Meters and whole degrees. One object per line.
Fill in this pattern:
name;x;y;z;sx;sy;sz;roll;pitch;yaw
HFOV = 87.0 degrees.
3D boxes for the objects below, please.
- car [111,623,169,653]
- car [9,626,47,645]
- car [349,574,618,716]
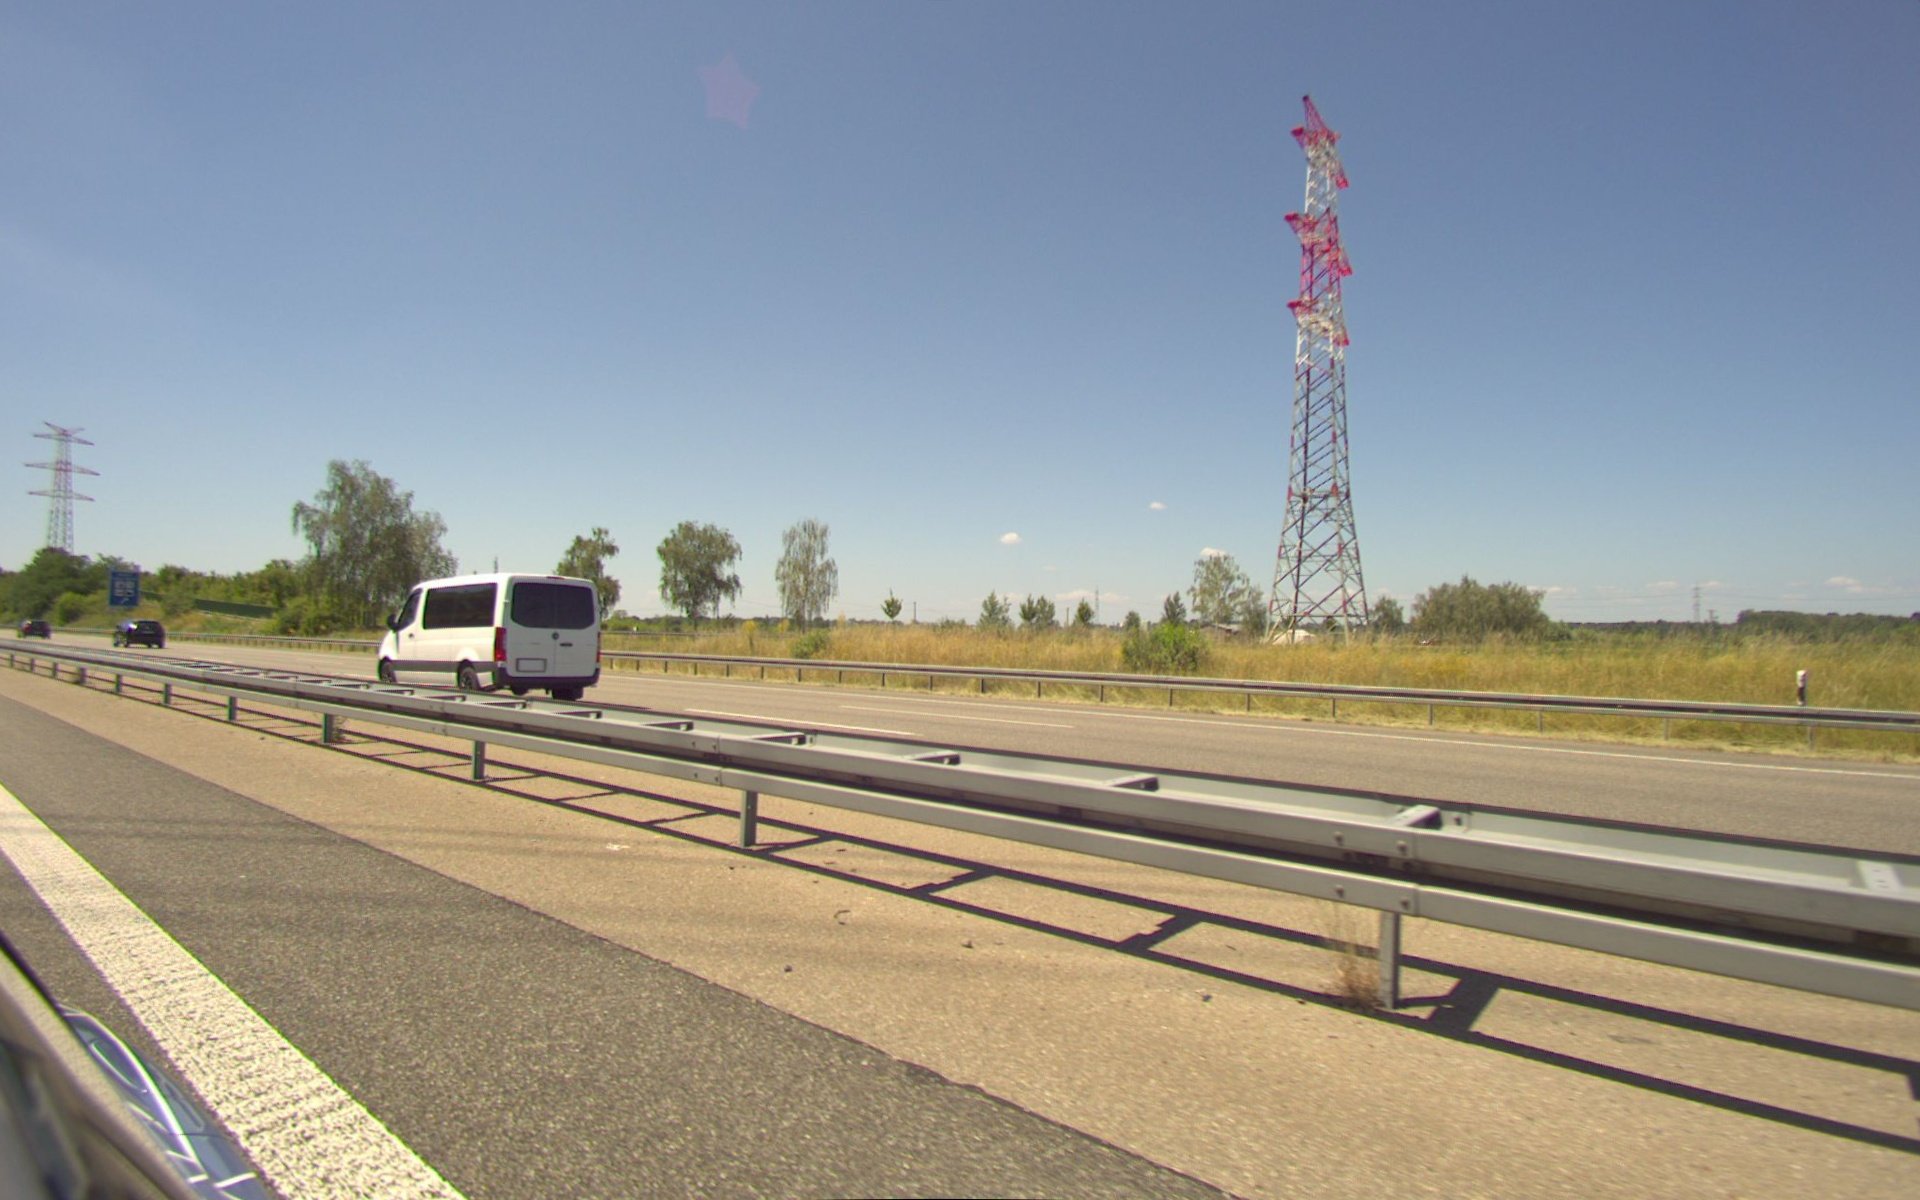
car;-47.931;2.195;59.107;4.411;1.642;1.821;-1;-5;41
car;-74.904;2.844;81.345;4.280;1.471;1.601;-1;-5;39
car;-9.330;0.813;19.444;6.702;2.315;2.087;-1;-3;41
